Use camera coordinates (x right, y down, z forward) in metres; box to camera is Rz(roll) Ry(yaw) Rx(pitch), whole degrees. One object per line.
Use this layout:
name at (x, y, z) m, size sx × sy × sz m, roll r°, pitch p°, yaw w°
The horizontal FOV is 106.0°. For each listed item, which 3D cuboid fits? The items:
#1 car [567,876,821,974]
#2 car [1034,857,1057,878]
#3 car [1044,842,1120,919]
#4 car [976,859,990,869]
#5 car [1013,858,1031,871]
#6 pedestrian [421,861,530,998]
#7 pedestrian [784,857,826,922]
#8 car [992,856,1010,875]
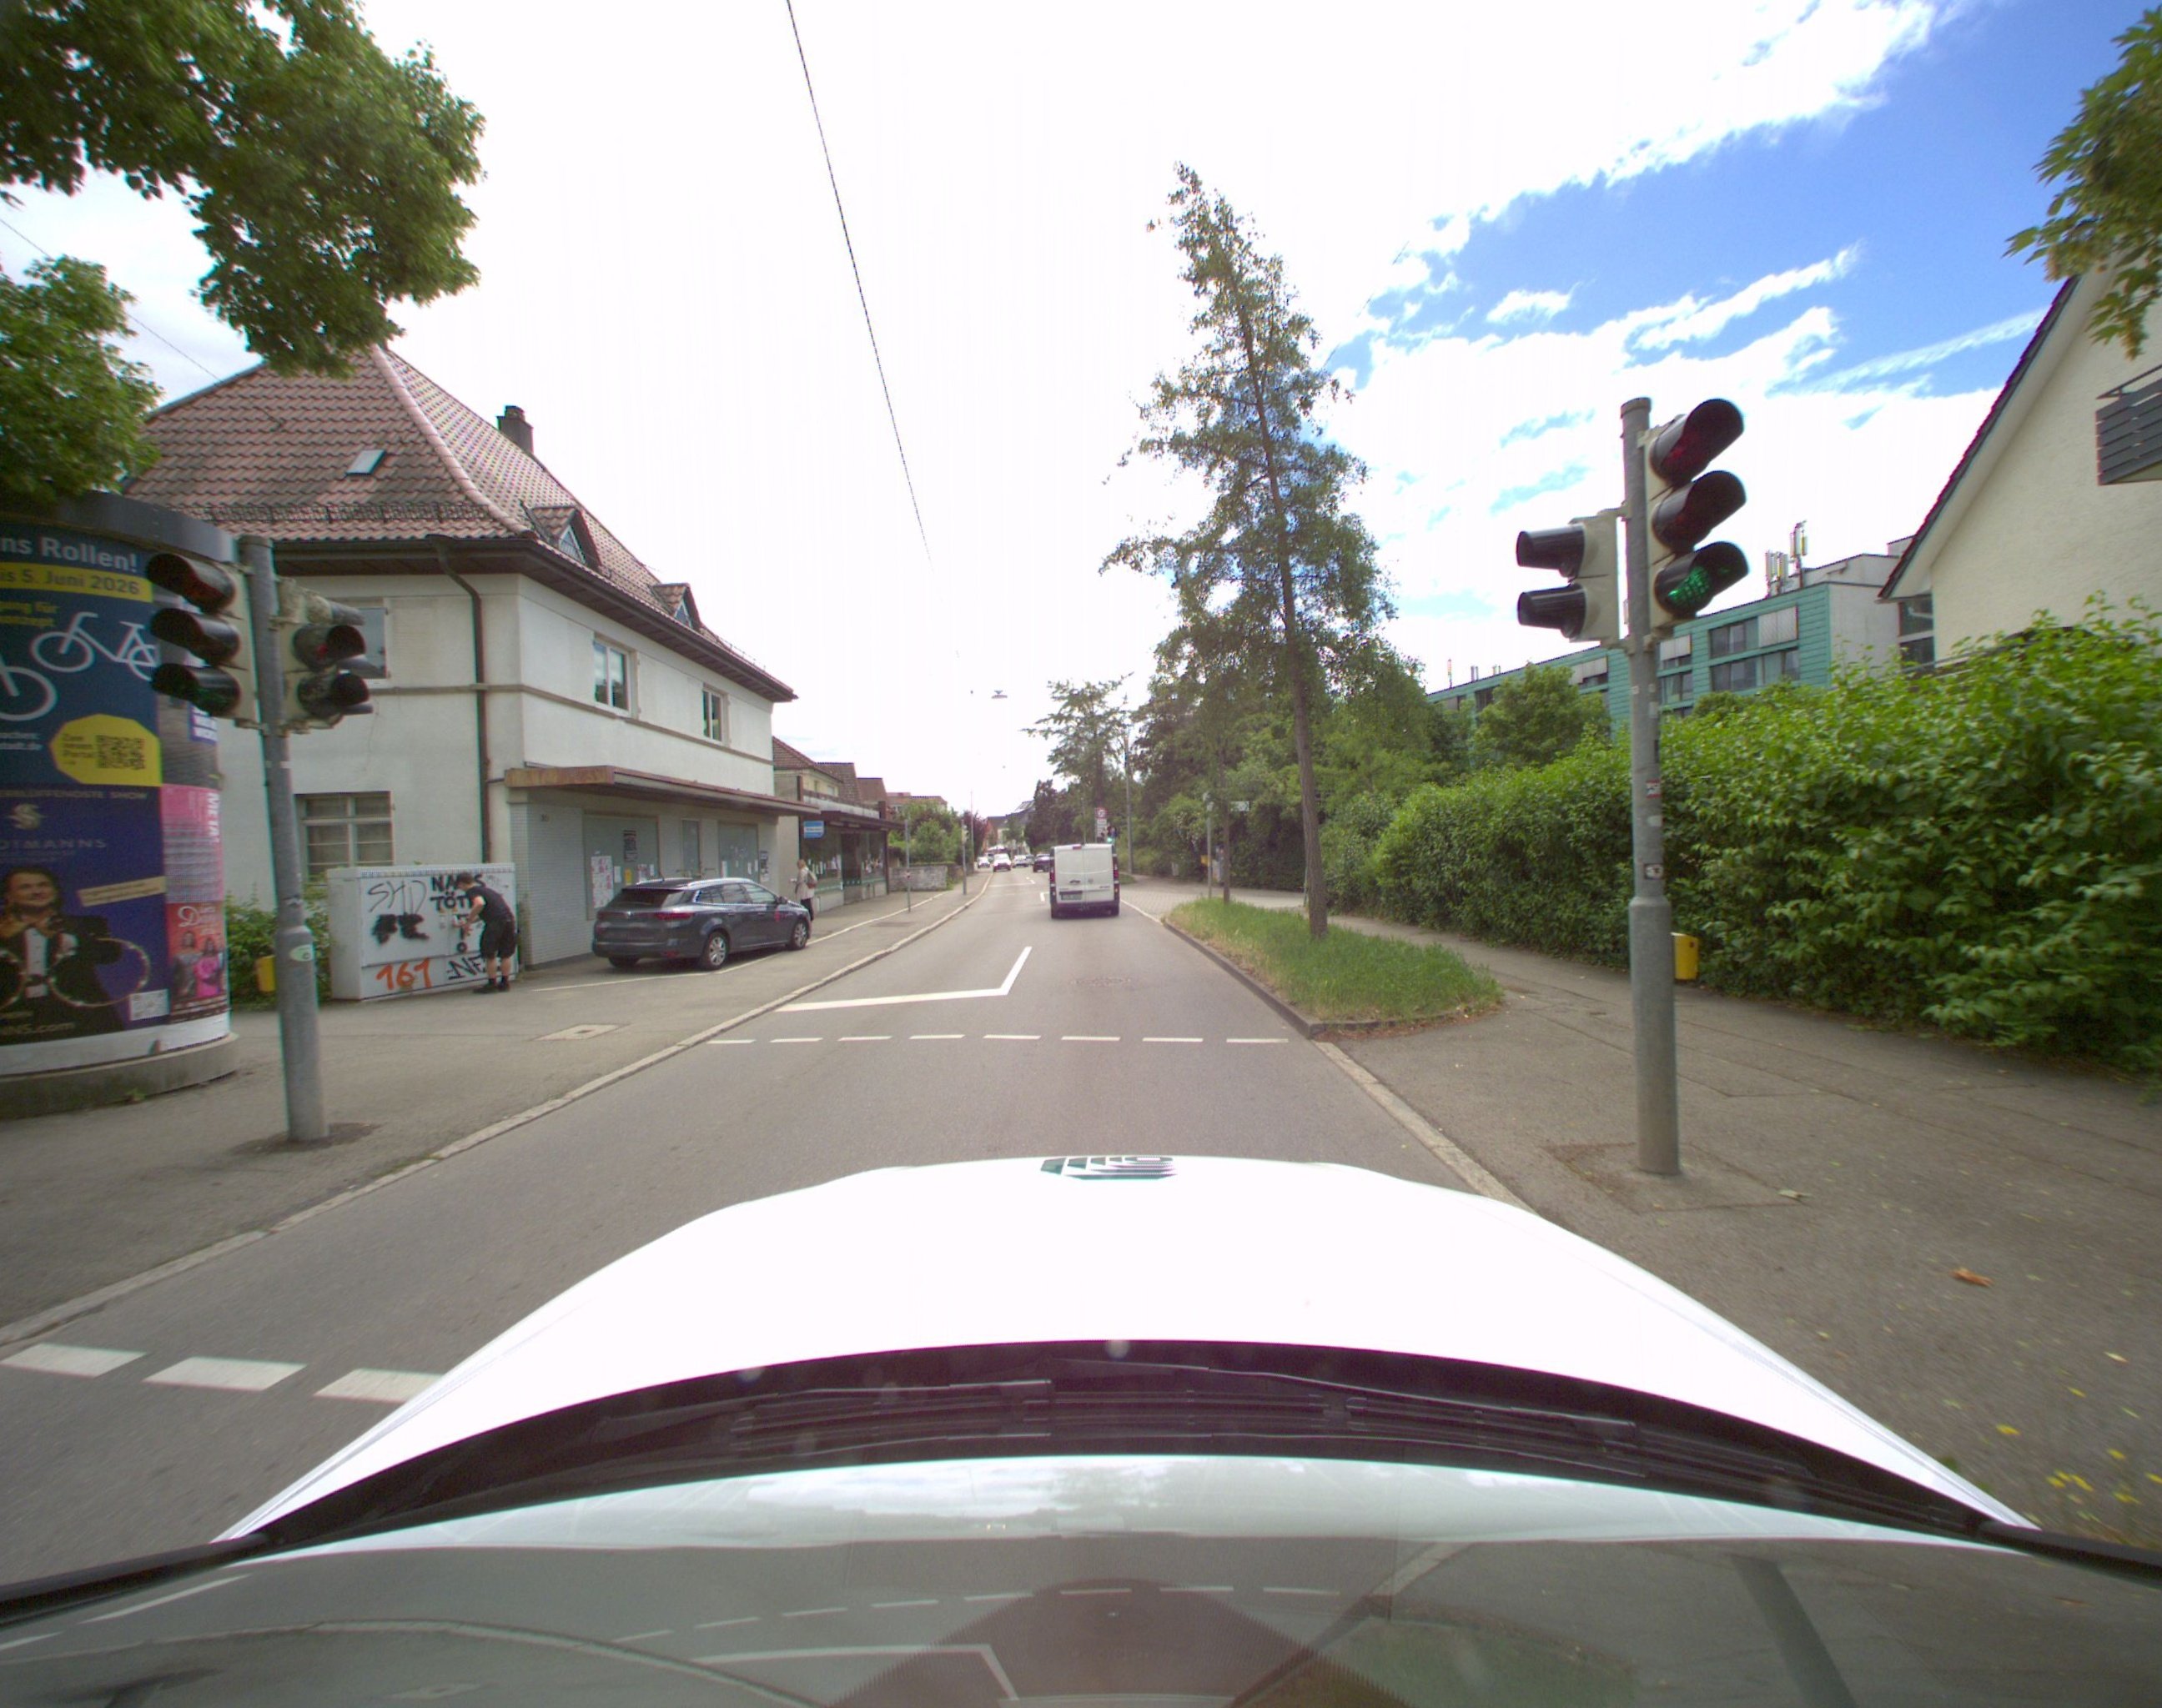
car at (-6.549, 1.117, 14.474) m, size 1.769 × 1.441 × 4.536 m, roll 0°, pitch -1°, yaw 9°
car at (-3.146, 1.220, 73.730) m, size 1.891 × 1.860 × 4.402 m, roll -1°, pitch -1°, yaw -1°
car at (0.065, 0.707, 23.254) m, size 1.923 × 1.964 × 4.402 m, roll -1°, pitch -1°, yaw 1°
car at (-15.487, 1.612, 128.391) m, size 1.884 × 1.512 × 4.098 m, roll -3°, pitch 0°, yaw -10°
car at (-7.811, 1.399, 107.618) m, size 1.827 × 1.728 × 3.982 m, roll -1°, pitch -1°, yaw -13°
pedestrian at (-7.952, 0.955, 10.720) m, size 0.880 × 1.718 × 0.764 m, roll 0°, pitch 0°, yaw 15°
pedestrian at (-7.679, 0.973, 22.682) m, size 0.881 × 1.751 × 0.962 m, roll 0°, pitch -1°, yaw -5°
car at (-9.146, 1.275, 92.938) m, size 1.865 × 1.911 × 5.105 m, roll -4°, pitch 0°, yaw -5°
